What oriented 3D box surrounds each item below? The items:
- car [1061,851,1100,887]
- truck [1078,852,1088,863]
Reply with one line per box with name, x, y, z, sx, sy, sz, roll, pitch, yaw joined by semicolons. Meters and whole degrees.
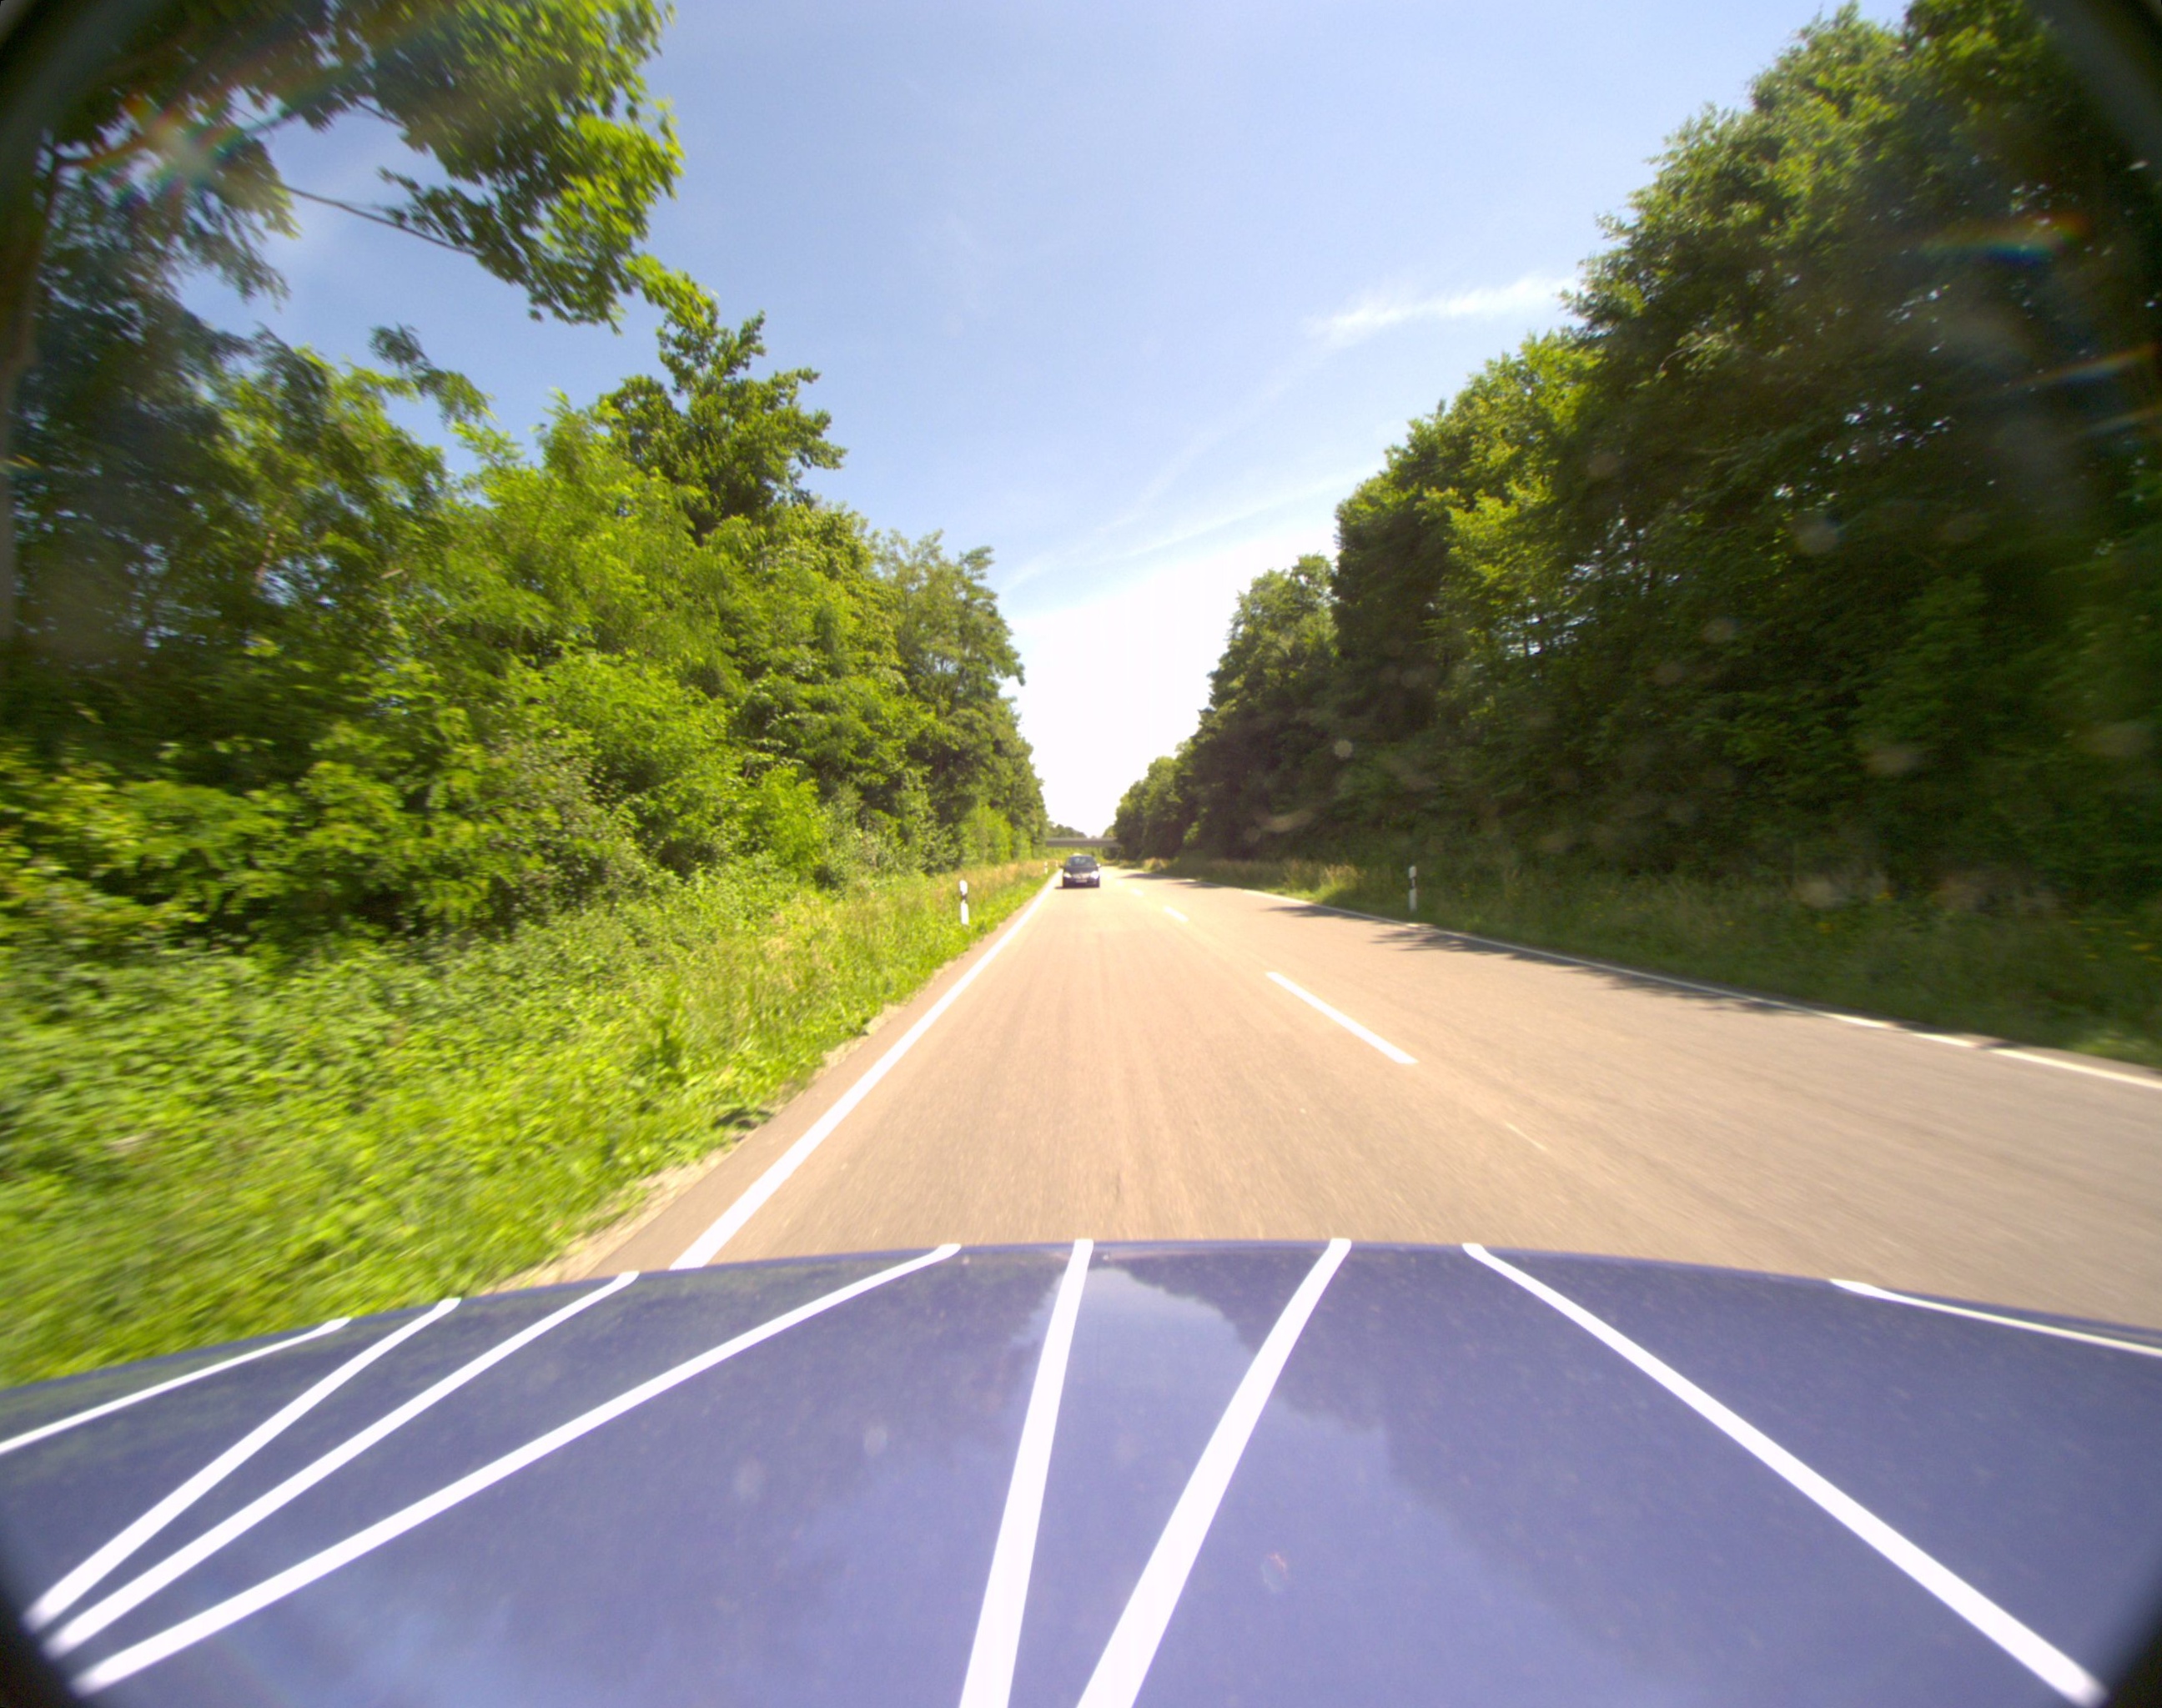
car;0.016;0.734;37.632;1.783;1.675;4.779;-1;-1;1
truck;0.499;1.065;237.369;2.578;3.111;11.196;-3;0;-2
